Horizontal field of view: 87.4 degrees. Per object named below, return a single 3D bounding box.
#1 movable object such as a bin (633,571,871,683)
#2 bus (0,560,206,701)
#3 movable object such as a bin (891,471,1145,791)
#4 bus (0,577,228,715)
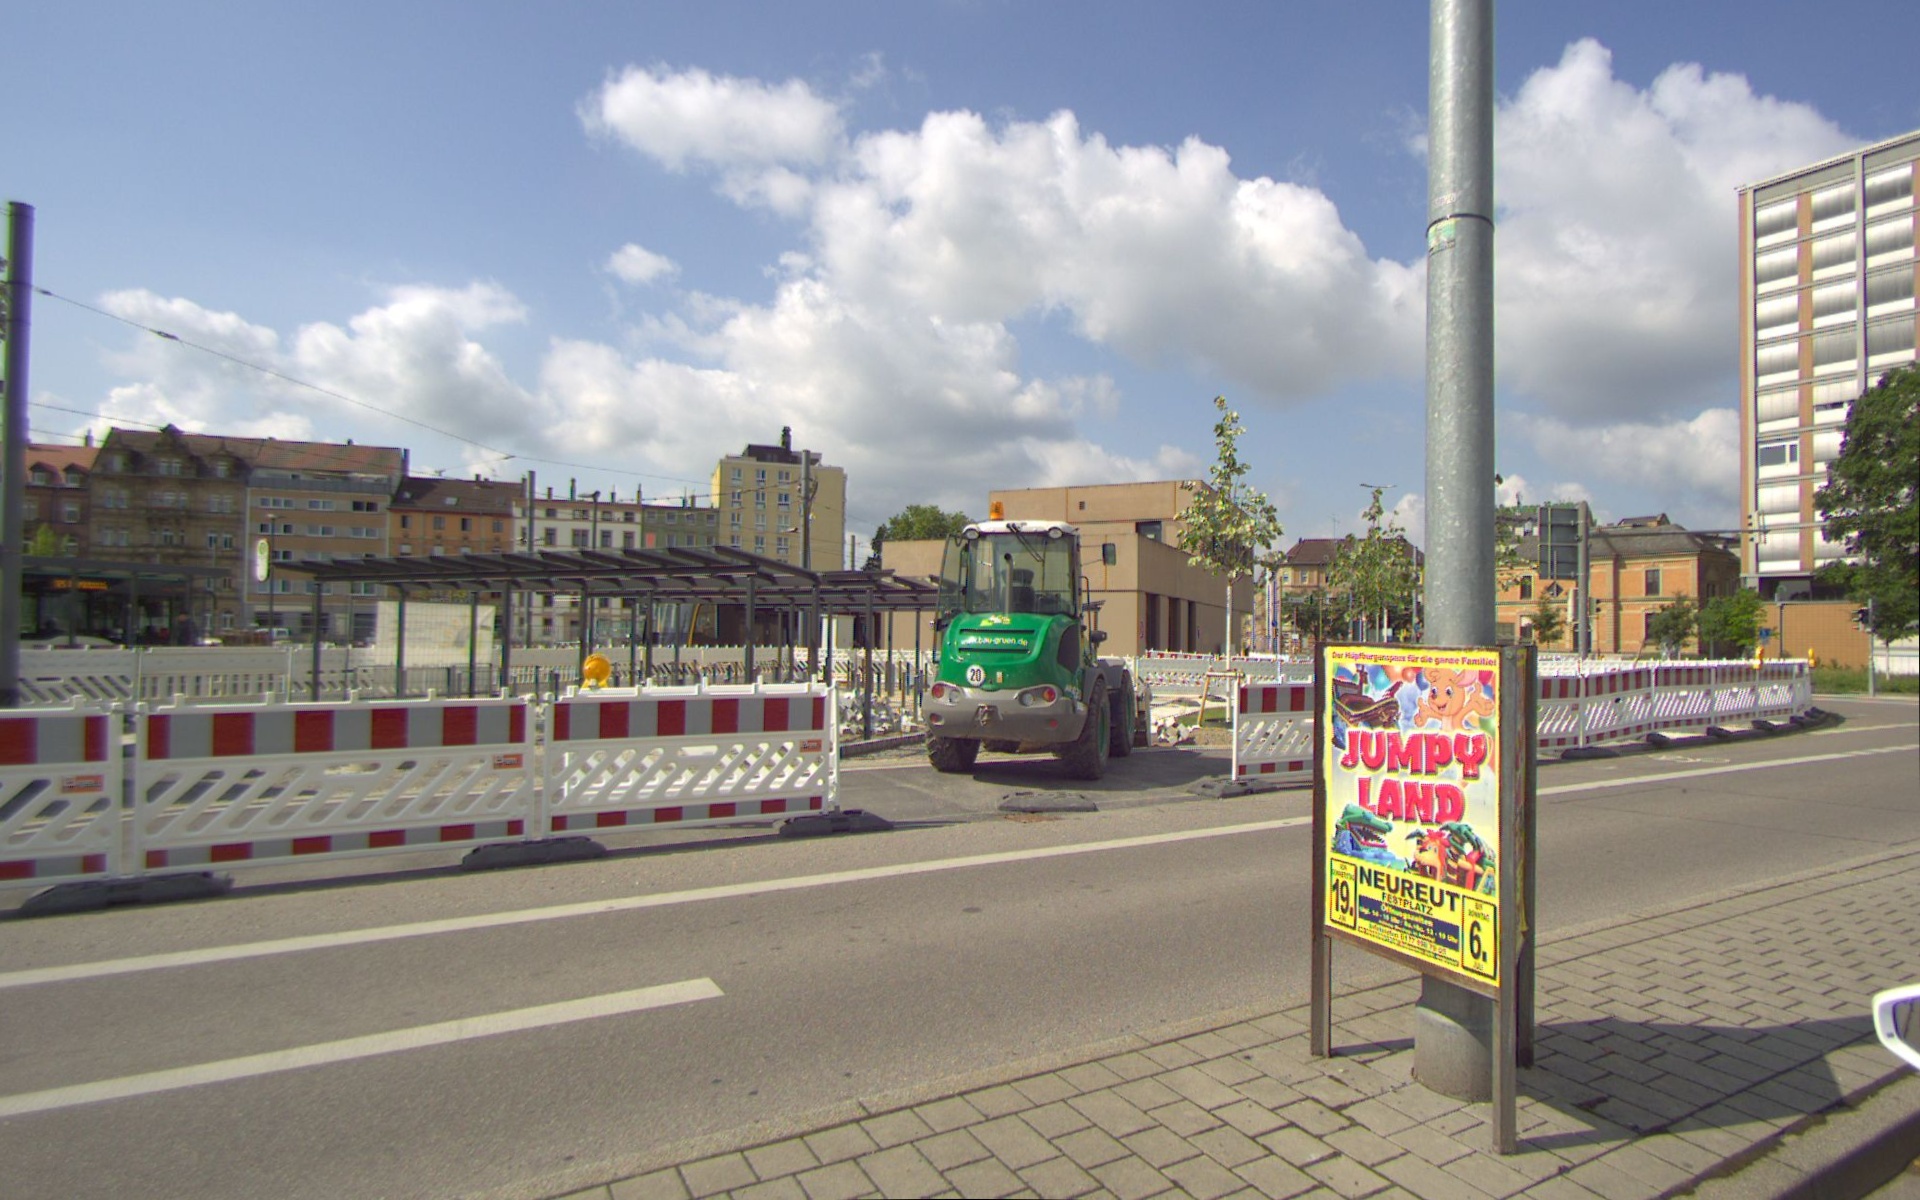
[{"bbox_3d":[-7.068,1.026,36.190,2.966,3.468,9.677,0,-2,27],"label":"movable object such as a bin"},{"bbox_3d":[-22.114,0.699,22.815,2.329,3.098,7.758,-1,-2,25],"label":"bus"},{"bbox_3d":[0.915,0.384,11.803,1.960,2.988,4.453,0,-2,17],"label":"movable object such as a bin"},{"bbox_3d":[-24.772,1.086,23.762,2.937,3.305,12.067,-1,-2,25],"label":"bus"}]
